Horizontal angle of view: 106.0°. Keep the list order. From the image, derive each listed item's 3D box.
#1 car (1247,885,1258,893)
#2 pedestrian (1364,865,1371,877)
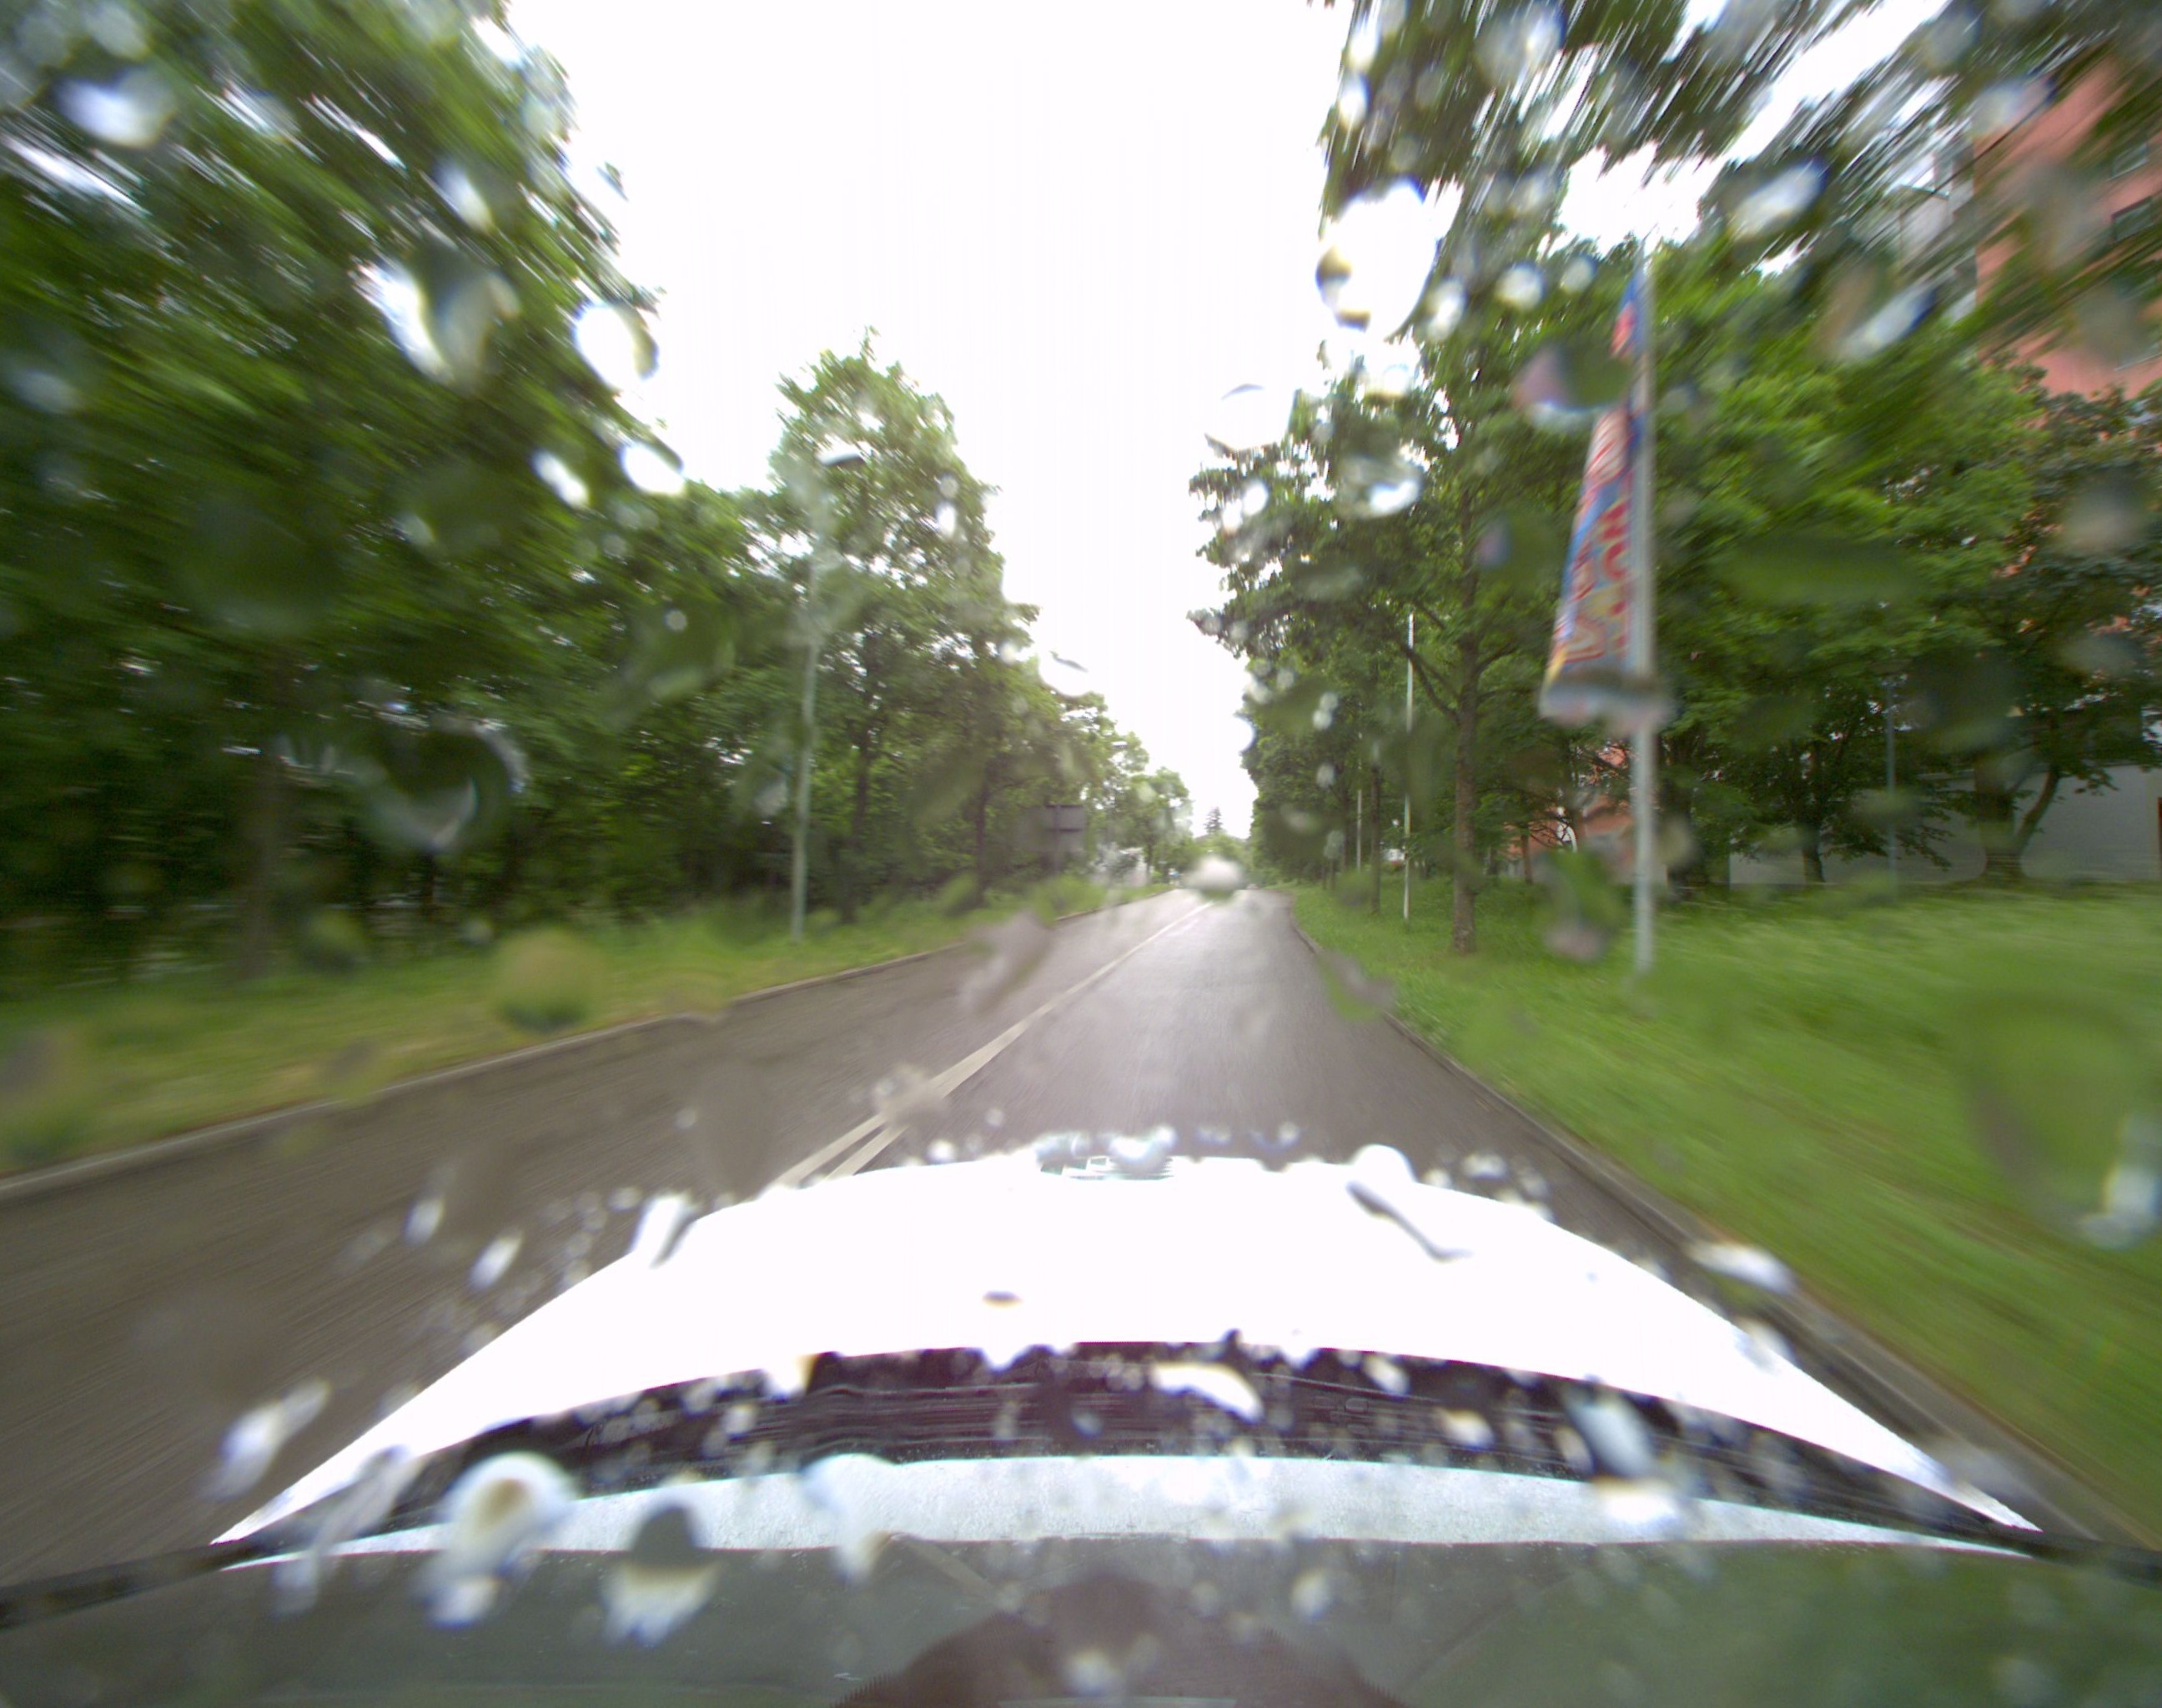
[{"bbox_3d":[30.973,6.320,146.988,1.724,1.511,4.013,-1,-4,13],"label":"car"},{"bbox_3d":[31.429,1.874,89.338,0.649,1.284,0.627,-2,-2,14],"label":"pedestrian"}]
